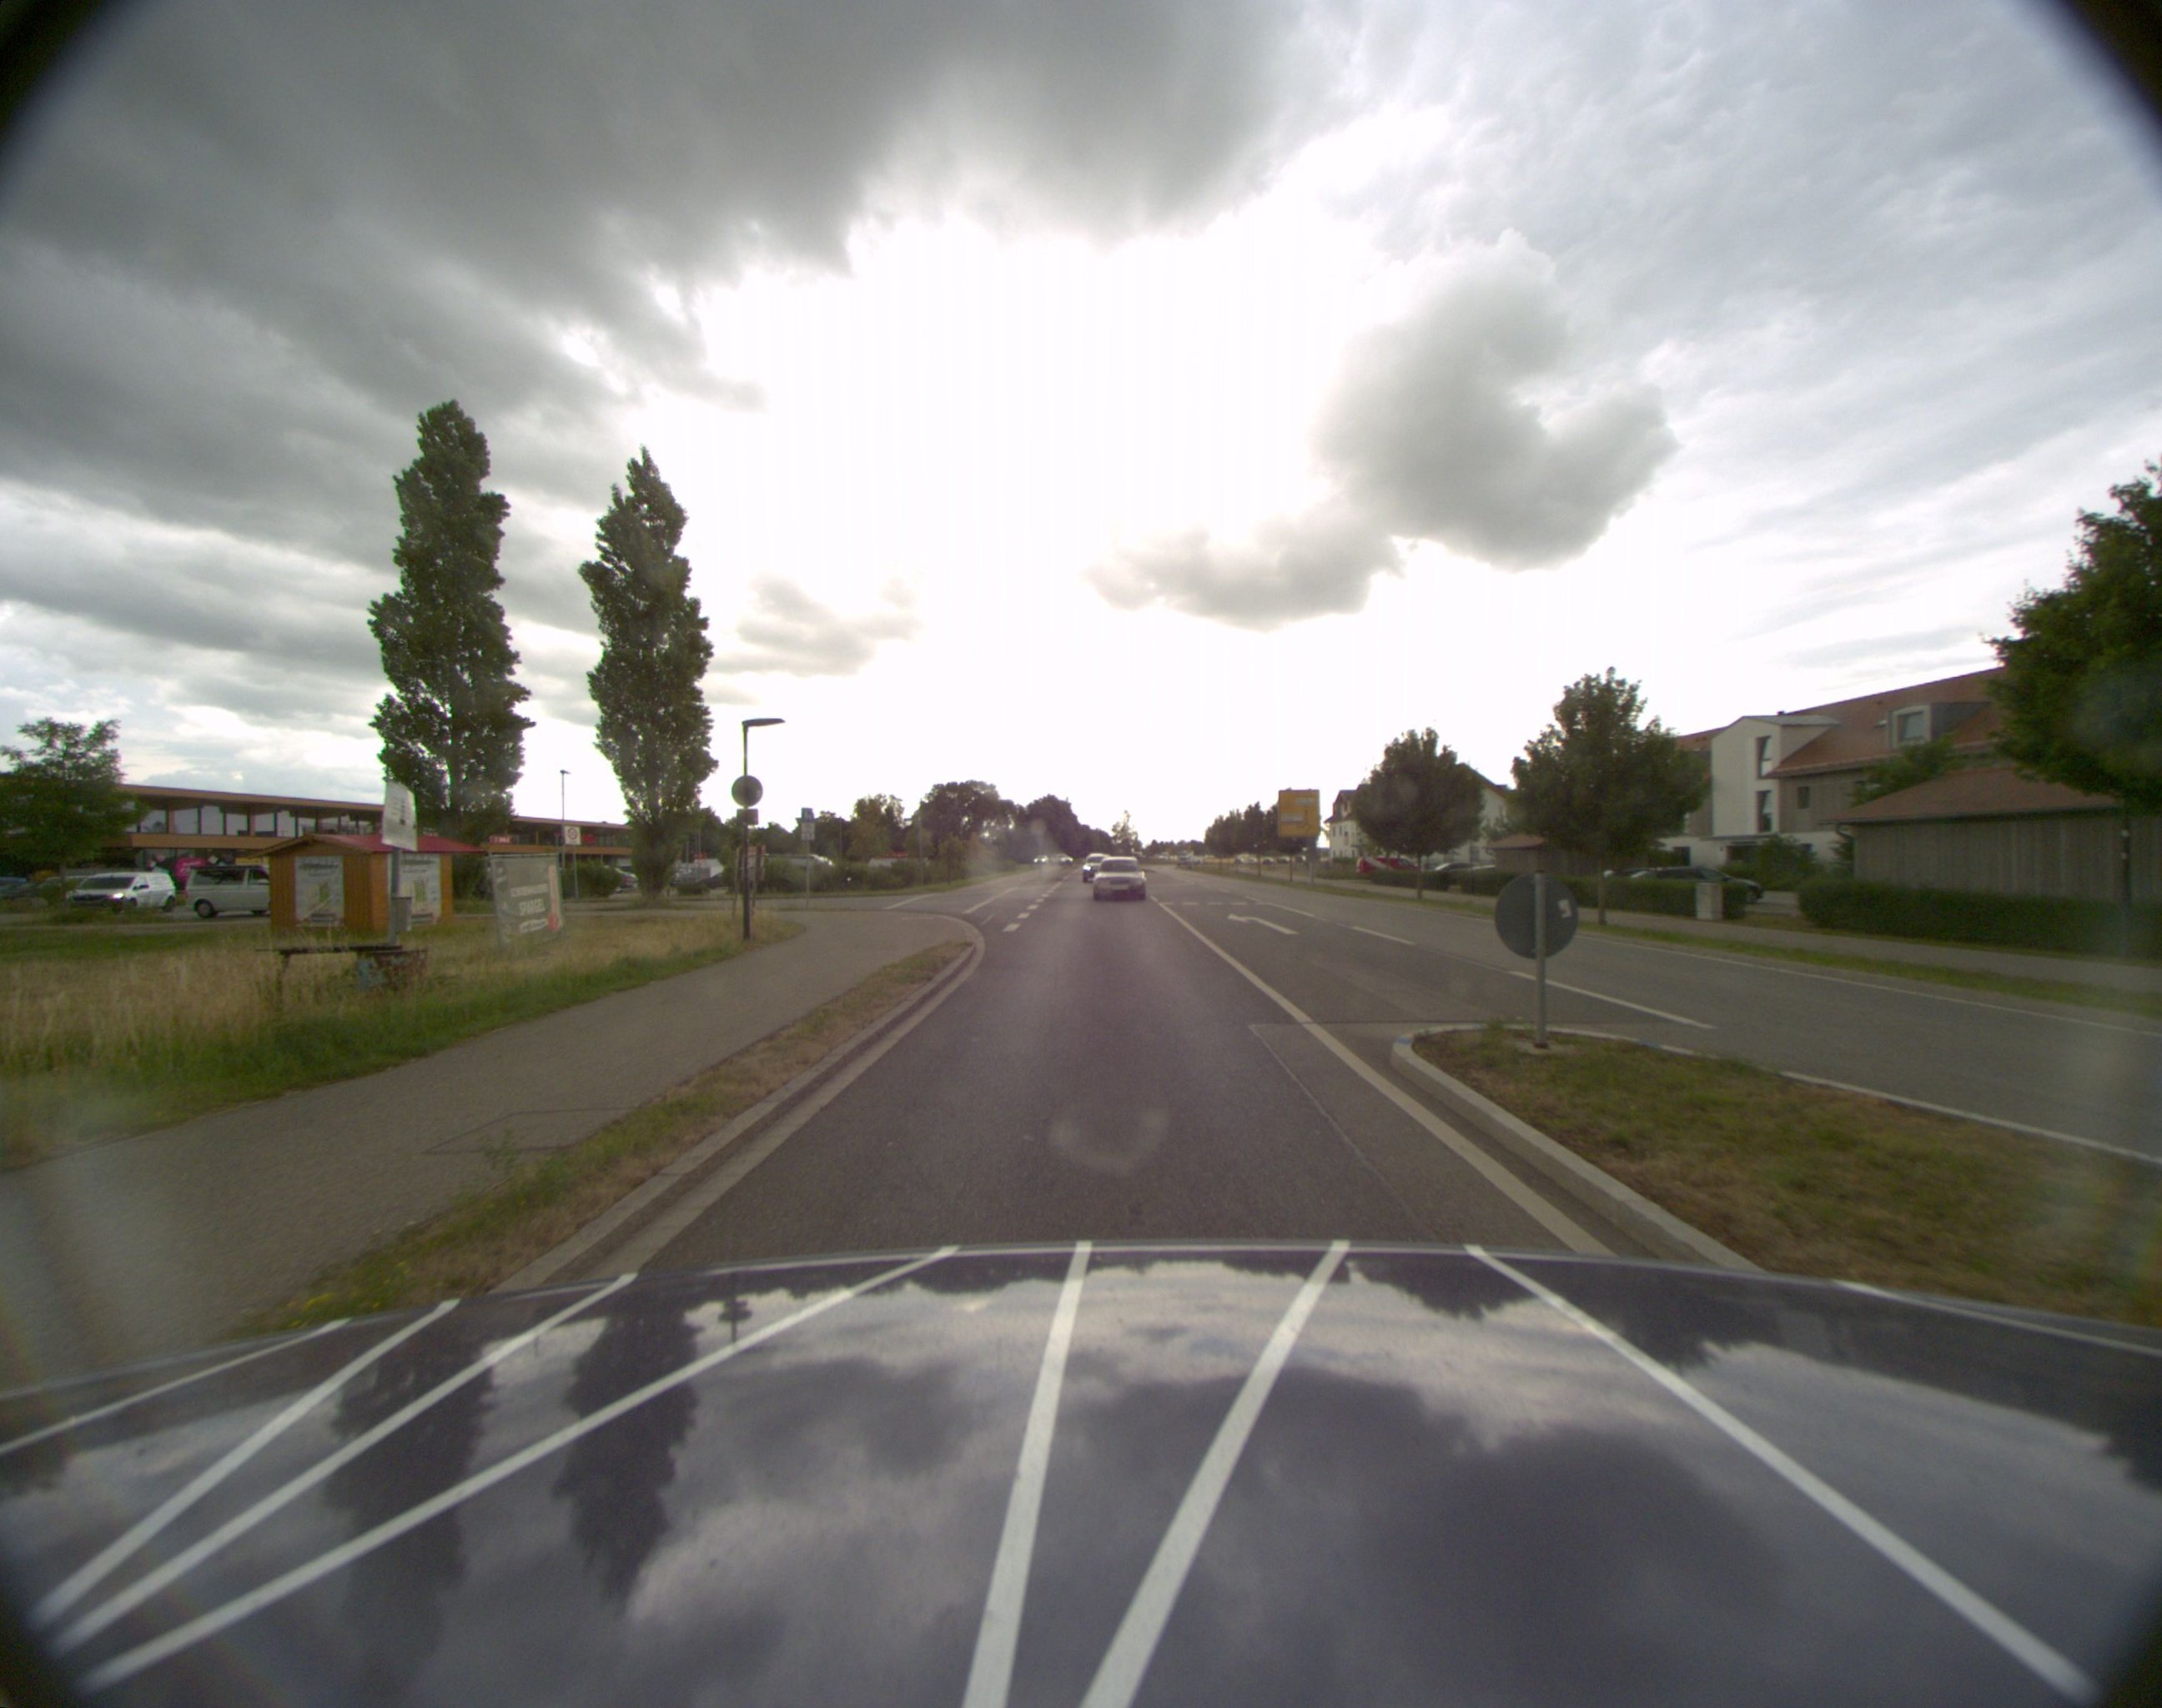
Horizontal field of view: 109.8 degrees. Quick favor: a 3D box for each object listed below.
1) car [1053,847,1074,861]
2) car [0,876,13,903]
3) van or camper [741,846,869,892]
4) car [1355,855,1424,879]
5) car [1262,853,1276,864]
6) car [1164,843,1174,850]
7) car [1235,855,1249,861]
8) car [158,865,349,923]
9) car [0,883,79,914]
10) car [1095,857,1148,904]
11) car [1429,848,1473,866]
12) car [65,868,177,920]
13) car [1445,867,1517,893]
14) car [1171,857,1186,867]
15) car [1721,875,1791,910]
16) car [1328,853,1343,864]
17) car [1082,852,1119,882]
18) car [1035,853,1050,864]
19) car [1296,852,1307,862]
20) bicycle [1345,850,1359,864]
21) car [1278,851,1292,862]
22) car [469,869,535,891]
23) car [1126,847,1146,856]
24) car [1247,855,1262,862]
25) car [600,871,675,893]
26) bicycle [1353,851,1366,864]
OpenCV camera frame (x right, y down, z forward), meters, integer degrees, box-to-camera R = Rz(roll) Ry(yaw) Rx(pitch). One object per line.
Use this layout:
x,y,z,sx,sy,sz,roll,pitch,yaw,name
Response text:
-2.746,-0.007,115.736,2.002,2.002,4.235,1,0,-19,car
-58.046,1.865,38.474,1.998,1.402,4.200,1,0,2,car
-15.856,0.839,43.939,6.483,2.450,2.281,1,0,-1,van or camper
25.410,1.042,62.651,4.915,1.805,1.907,1,0,7,car
37.491,0.934,151.554,1.995,2.002,4.008,1,0,26,car
18.461,-1.591,159.464,1.774,1.435,4.000,1,0,1,car
32.657,0.838,154.040,1.995,1.280,4.008,1,0,26,car
-31.505,1.471,29.032,5.229,2.002,2.000,1,0,2,car
-52.341,2.177,36.827,1.837,1.341,4.257,1,0,2,car
1.462,0.854,26.707,1.700,1.458,4.001,1,1,4,car
32.707,0.292,67.359,1.998,1.499,4.000,1,0,1,car
-41.400,1.672,32.891,2.004,2.002,3.989,1,0,-36,car
24.271,1.555,46.204,3.523,1.480,1.563,1,0,1,car
14.587,1.155,114.189,1.774,1.435,4.000,1,0,1,car
26.546,1.470,29.998,1.656,1.237,4.009,1,0,36,car
49.485,0.902,147.901,1.994,2.002,4.008,1,0,29,car
1.189,0.684,43.227,1.869,1.578,5.063,-1,1,4,car
-6.438,0.757,126.559,1.998,1.674,4.001,1,0,4,car
42.975,0.606,148.077,1.996,2.002,4.005,1,0,17,car
28.981,0.336,81.285,0.684,1.409,2.094,1,0,1,bicycle
40.223,0.534,149.671,1.995,2.002,4.008,1,0,26,car
-46.513,2.073,61.121,3.746,1.598,2.039,1,0,1,car
10.904,-0.431,149.642,1.994,1.674,4.009,1,0,38,car
34.822,0.882,152.564,1.995,1.280,4.008,1,0,26,car
-31.710,2.008,54.405,4.188,1.424,1.902,1,0,-1,car
29.808,0.377,81.308,0.684,1.420,2.094,1,0,1,bicycle
